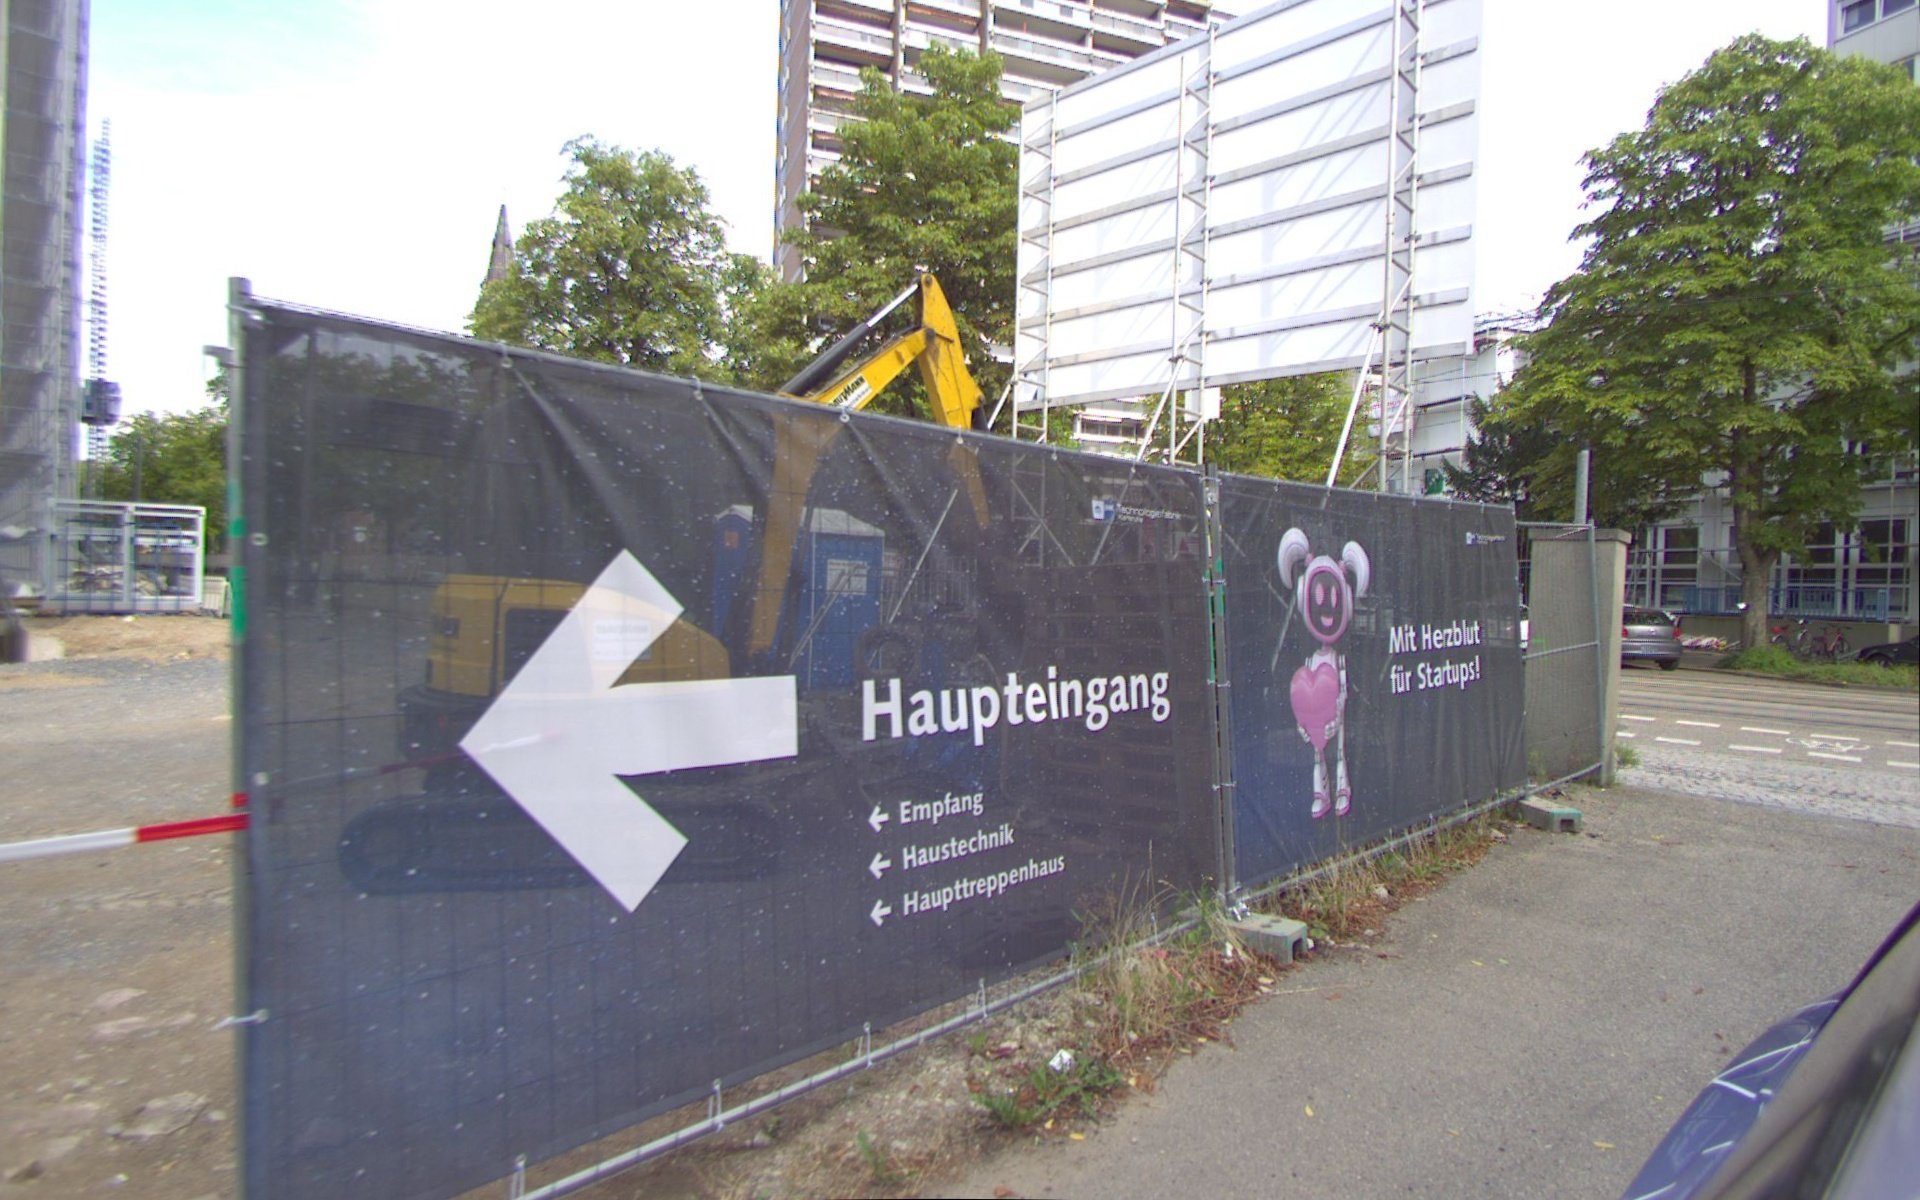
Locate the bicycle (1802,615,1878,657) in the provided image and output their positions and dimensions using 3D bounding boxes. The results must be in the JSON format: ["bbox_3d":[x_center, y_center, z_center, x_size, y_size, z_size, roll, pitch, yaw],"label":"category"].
[{"bbox_3d":[23.544,0.974,27.070,1.936,1.056,0.596,2,0,-18],"label":"bicycle"}]

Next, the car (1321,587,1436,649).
[{"bbox_3d":[11.849,0.457,28.924,1.650,1.622,3.648,1,1,-2],"label":"car"}]

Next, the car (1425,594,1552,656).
[{"bbox_3d":[14.027,0.608,27.084,1.652,1.493,3.642,1,1,4],"label":"car"}]

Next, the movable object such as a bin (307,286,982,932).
[{"bbox_3d":[-1.841,0.028,5.778,3.003,2.474,2.497,1,0,-36],"label":"movable object such as a bin"}]

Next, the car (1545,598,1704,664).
[{"bbox_3d":[16.176,0.701,24.860,1.652,1.437,3.642,1,1,4],"label":"car"}]

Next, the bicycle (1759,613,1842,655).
[{"bbox_3d":[23.168,0.929,27.895,1.937,1.056,0.595,2,0,-9],"label":"bicycle"}]

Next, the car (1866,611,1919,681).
[{"bbox_3d":[20.961,1.005,20.182,1.780,1.433,4.175,1,1,-6],"label":"car"}]
